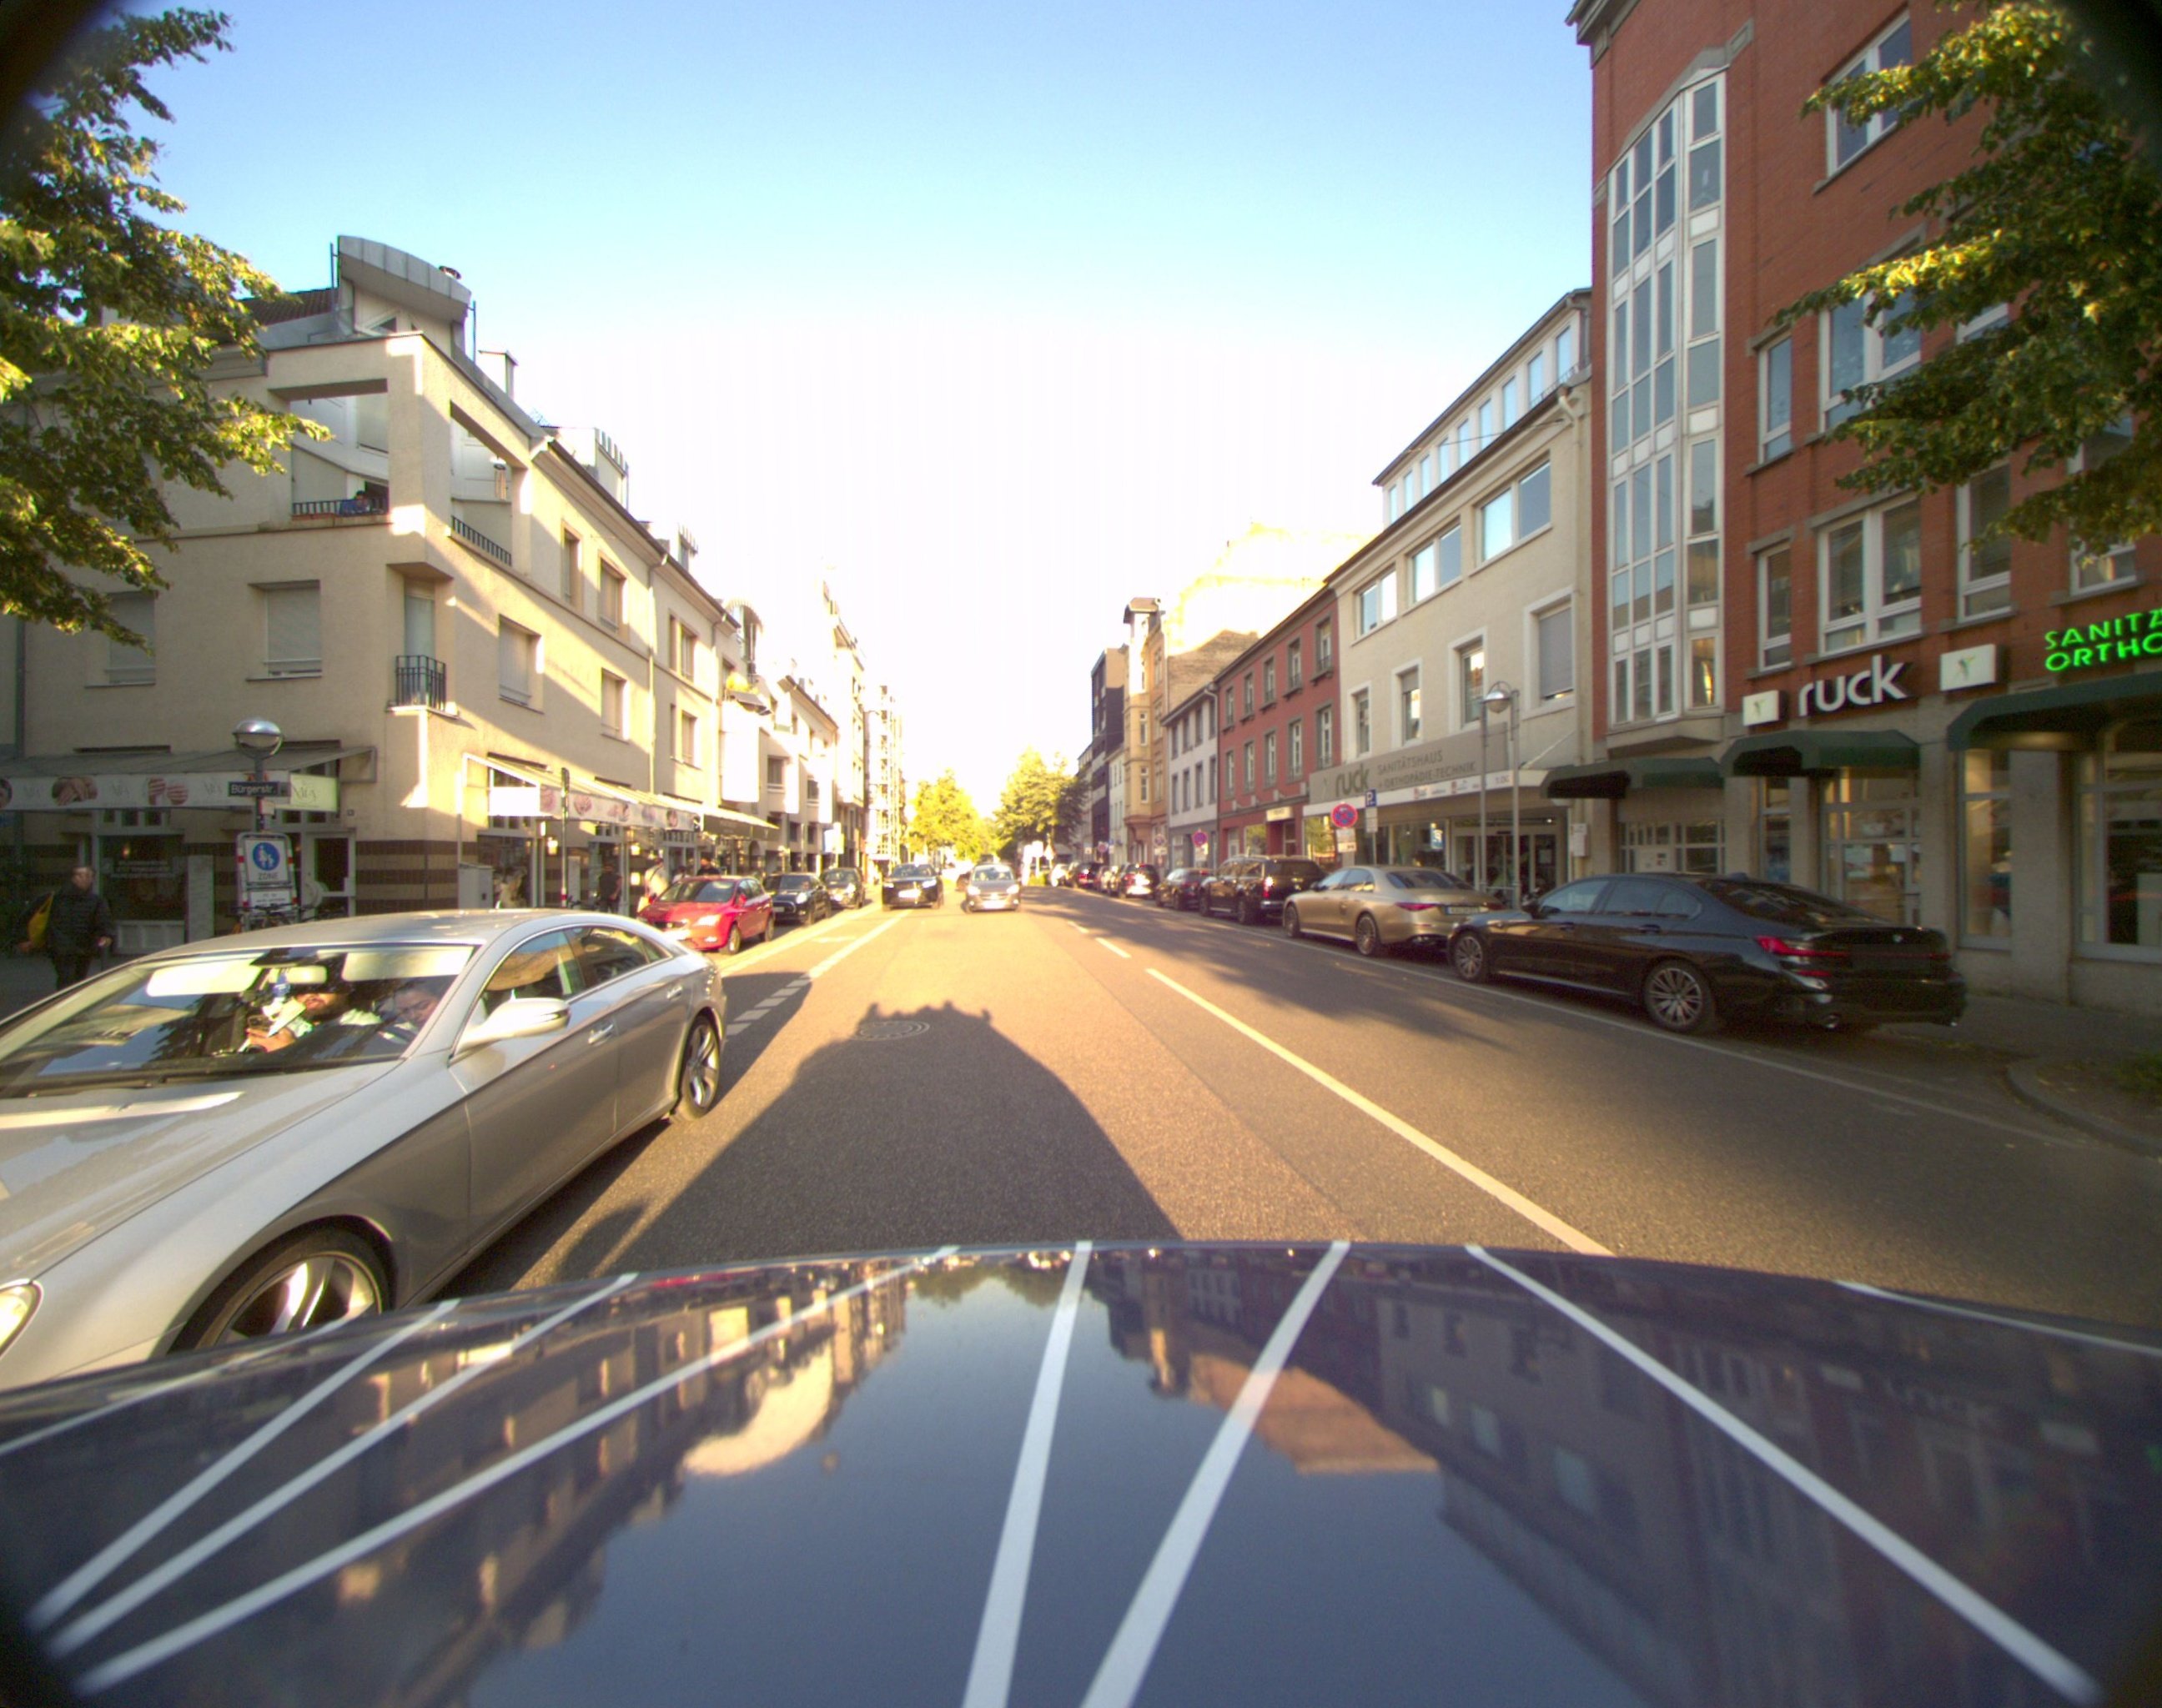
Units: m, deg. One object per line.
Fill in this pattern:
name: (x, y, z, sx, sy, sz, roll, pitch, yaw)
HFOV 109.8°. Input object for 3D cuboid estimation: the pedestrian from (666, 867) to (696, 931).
pedestrian: (-10.073, 1.127, 19.142, 0.521, 1.583, 0.408, 2, 0, -8)

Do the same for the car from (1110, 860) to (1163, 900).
car: (2.498, 1.150, 35.003, 1.726, 1.673, 4.047, 2, -1, -6)

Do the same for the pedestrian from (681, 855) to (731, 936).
pedestrian: (-9.055, 0.981, 18.384, 0.779, 1.872, 0.669, -4, 1, -8)

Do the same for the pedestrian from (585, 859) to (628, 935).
pedestrian: (-11.108, 0.989, 17.791, 0.631, 1.739, 0.669, 0, 0, -8)

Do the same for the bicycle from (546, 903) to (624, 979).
bicycle: (-8.028, 1.372, 12.359, 0.315, 1.040, 1.664, 0, 0, -5)

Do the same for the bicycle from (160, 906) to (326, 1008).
bicycle: (-11.092, 1.310, 10.152, 0.322, 1.098, 1.878, -1, 0, -7)

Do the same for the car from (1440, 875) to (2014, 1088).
car: (5.889, 1.014, 7.880, 1.726, 1.464, 4.538, 2, -1, -7)

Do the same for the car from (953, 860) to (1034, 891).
car: (-4.892, 1.184, 42.553, 4.284, 1.665, 1.739, 0, 0, 29)

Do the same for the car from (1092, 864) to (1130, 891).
car: (1.695, 1.344, 44.098, 1.674, 1.448, 3.563, 2, -1, -6)

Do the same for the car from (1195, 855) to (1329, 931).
car: (4.660, 0.957, 20.399, 1.726, 1.768, 4.935, 1, -1, -9)

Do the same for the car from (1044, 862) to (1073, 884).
car: (-1.642, 1.340, 54.843, 1.674, 1.512, 3.562, 1, 0, -8)

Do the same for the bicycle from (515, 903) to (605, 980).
bicycle: (-8.383, 1.370, 12.307, 0.315, 1.040, 1.881, 0, 0, -5)

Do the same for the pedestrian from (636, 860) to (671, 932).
pedestrian: (-10.616, 1.029, 18.886, 0.545, 1.748, 0.502, 2, 0, -8)

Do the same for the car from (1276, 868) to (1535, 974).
car: (5.358, 1.027, 13.519, 2.000, 1.463, 5.104, 1, -1, -6)

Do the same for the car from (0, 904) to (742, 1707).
car: (-3.038, 1.091, 3.115, 1.748, 1.393, 4.636, -2, 0, -8)

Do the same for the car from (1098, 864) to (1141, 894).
car: (2.002, 1.295, 40.082, 1.690, 1.461, 3.689, 2, -1, -6)

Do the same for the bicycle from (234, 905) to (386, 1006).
bicycle: (-10.299, 1.309, 10.239, 0.322, 1.098, 1.878, -1, 0, -7)

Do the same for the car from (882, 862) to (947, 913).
car: (-5.939, 1.149, 27.496, 1.891, 1.626, 4.224, -2, 0, -8)

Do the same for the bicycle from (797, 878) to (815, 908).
bicycle: (-10.623, 1.510, 29.383, 0.296, 1.079, 1.462, -1, 0, -7)

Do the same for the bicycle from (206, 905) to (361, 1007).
bicycle: (-10.606, 1.307, 10.197, 0.291, 1.098, 1.886, -1, 0, -7)

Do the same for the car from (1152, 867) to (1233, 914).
car: (3.785, 1.217, 26.473, 1.707, 1.429, 4.011, 2, -1, -8)

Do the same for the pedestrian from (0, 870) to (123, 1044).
pedestrian: (-10.625, 1.010, 7.889, 0.795, 1.666, 0.704, 2, 1, 28)

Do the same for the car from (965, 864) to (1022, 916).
car: (-2.845, 1.099, 24.408, 1.623, 1.465, 3.686, -2, 0, -8)

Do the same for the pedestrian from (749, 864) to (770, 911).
pedestrian: (-12.566, 1.291, 29.684, 0.576, 1.789, 0.450, -2, 1, -7)

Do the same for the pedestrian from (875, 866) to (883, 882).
pedestrian: (-15.850, 1.552, 59.496, 0.492, 1.256, 0.421, -2, 1, -7)

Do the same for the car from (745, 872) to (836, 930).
car: (-8.192, 1.270, 21.747, 1.622, 1.425, 3.923, 0, 0, -8)

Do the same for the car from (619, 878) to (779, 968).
car: (-7.199, 1.221, 14.748, 1.594, 1.425, 3.923, 0, 0, -8)

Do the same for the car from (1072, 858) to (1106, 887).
car: (0.487, 1.140, 47.903, 1.674, 1.763, 3.563, 2, -1, -6)

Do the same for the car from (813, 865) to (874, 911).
car: (-9.044, 1.247, 29.231, 1.622, 1.583, 3.923, -1, 0, -8)
